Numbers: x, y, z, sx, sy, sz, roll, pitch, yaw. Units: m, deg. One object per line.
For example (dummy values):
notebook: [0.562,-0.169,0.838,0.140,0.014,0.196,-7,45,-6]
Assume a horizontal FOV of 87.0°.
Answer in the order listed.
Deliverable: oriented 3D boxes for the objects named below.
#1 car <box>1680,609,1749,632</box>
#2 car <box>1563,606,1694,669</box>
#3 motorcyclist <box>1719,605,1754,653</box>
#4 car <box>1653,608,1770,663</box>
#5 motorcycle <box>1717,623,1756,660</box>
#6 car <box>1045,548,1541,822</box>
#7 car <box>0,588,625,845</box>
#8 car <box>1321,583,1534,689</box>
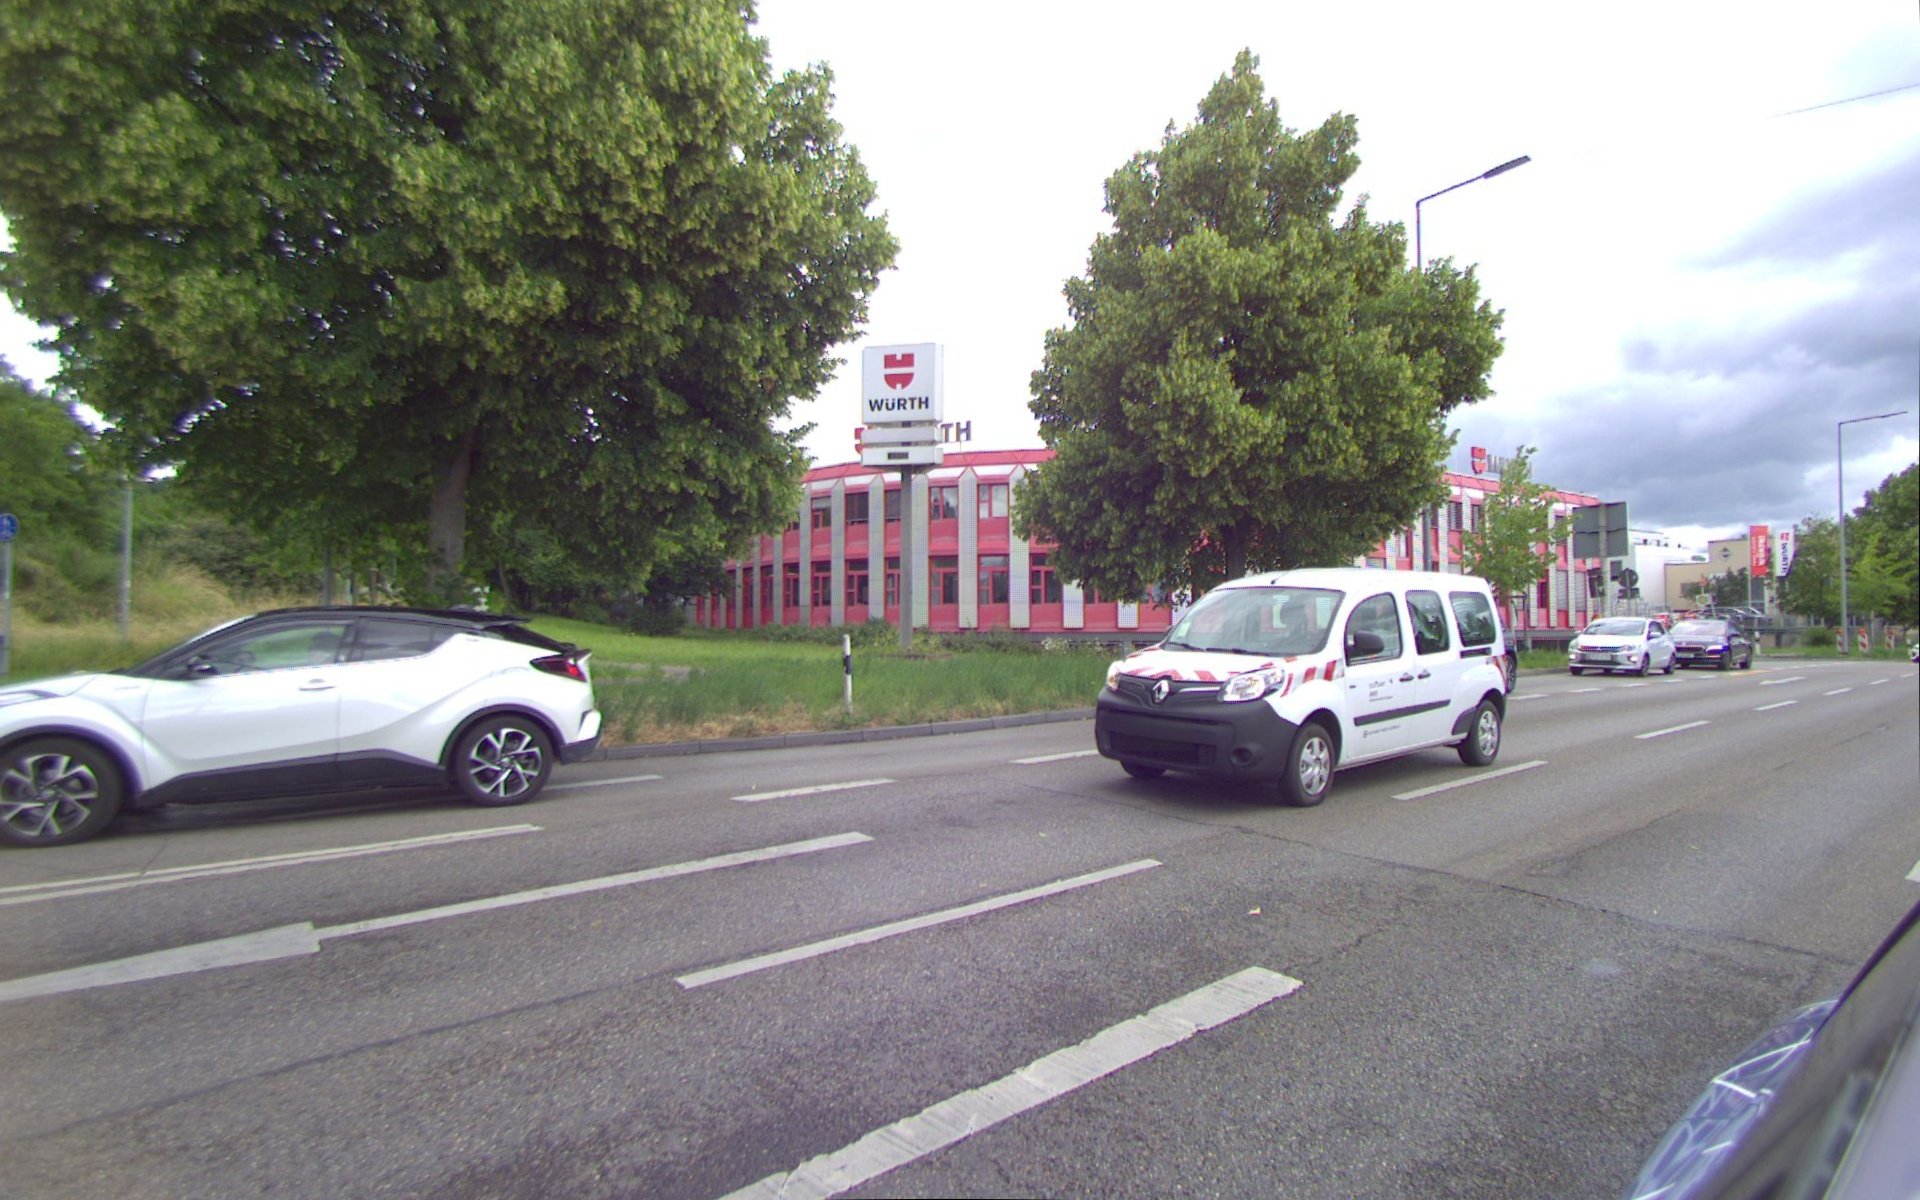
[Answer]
car: [61.816,1.694,82.949,1.752,1.776,4.247,0,0,-39]
car: [17.177,0.951,25.949,3.766,1.461,1.784,3,-1,-40]
motorcyclist: [25.281,0.946,32.956,0.918,1.510,0.748,2,-3,-44]
car: [22.092,1.048,29.700,4.446,1.464,1.784,3,-1,-40]
motorcycle: [25.283,1.331,32.939,1.911,1.162,0.748,2,-3,-45]
car: [3.150,0.525,9.027,4.752,1.824,1.999,-1,1,-39]
car: [-4.915,0.737,7.706,4.219,1.555,1.787,0,-3,-30]
car: [8.465,0.637,18.154,4.346,1.671,1.784,3,-1,-40]
